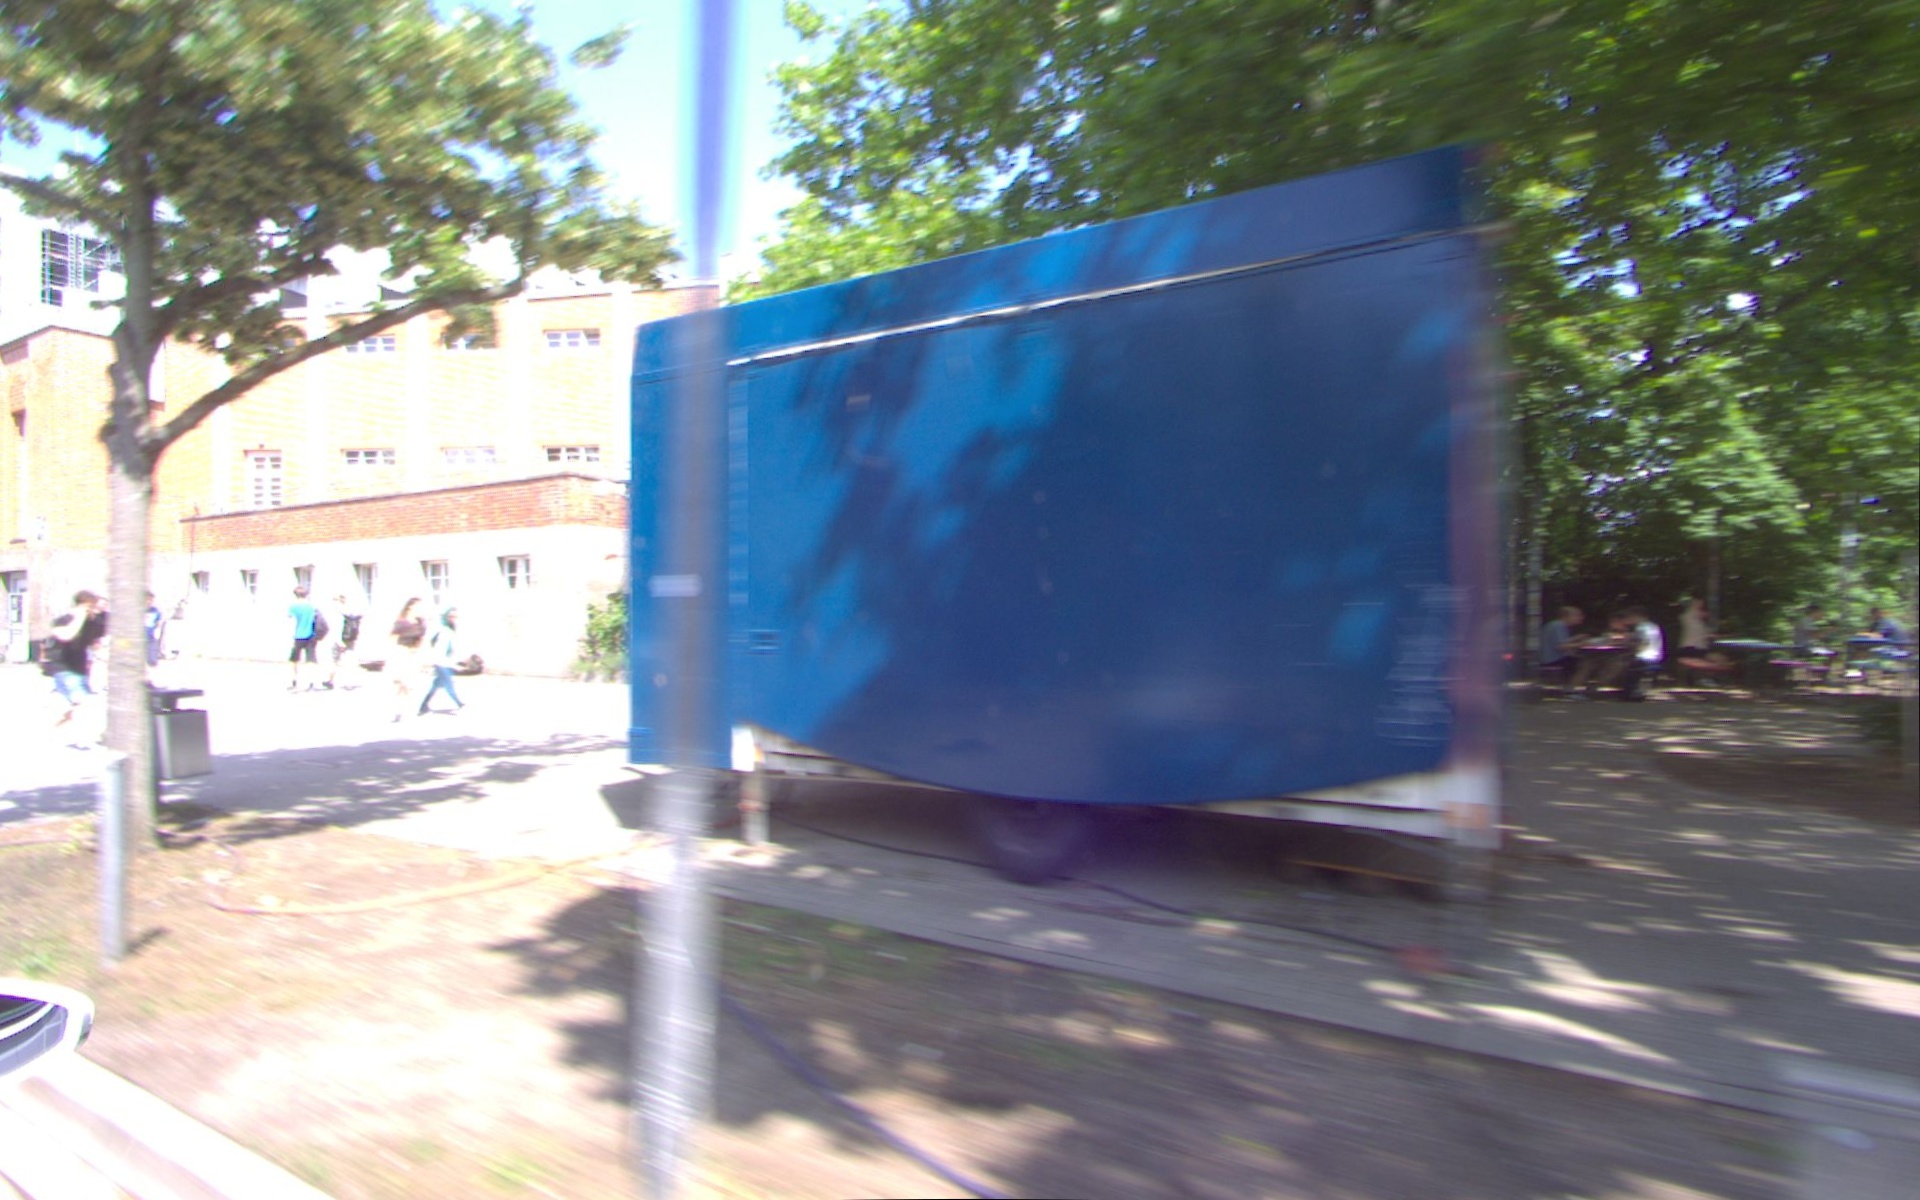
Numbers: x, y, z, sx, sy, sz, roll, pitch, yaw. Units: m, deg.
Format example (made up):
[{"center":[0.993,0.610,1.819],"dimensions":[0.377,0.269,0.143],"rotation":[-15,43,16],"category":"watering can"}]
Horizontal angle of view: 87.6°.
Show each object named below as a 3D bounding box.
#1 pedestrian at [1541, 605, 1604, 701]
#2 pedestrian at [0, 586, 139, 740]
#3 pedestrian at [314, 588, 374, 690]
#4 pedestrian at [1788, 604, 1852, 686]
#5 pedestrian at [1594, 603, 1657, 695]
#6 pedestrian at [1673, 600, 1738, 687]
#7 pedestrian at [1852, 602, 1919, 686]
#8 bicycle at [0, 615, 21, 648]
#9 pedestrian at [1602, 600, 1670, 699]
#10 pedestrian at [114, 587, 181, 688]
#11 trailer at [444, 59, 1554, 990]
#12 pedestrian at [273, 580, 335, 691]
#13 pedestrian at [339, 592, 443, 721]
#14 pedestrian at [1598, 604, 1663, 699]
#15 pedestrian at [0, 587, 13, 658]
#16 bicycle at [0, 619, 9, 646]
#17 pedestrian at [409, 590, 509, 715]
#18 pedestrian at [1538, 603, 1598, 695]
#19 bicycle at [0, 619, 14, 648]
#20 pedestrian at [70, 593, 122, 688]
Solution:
[{"center":[9.075,0.765,14.855],"dimensions":[0.717,1.365,0.568],"rotation":[1,3,27],"category":"pedestrian"},{"center":[-9.740,0.662,10.990],"dimensions":[0.815,1.616,0.849],"rotation":[0,1,-11],"category":"pedestrian"},{"center":[-11.390,0.687,18.508],"dimensions":[0.983,1.828,0.697],"rotation":[2,2,43],"category":"pedestrian"},{"center":[14.099,0.719,16.427],"dimensions":[0.612,1.289,0.666],"rotation":[1,3,27],"category":"pedestrian"},{"center":[10.311,0.739,15.545],"dimensions":[0.717,1.365,0.568],"rotation":[1,3,27],"category":"pedestrian"},{"center":[12.194,0.696,16.397],"dimensions":[0.708,1.365,0.666],"rotation":[1,3,27],"category":"pedestrian"},{"center":[14.905,0.695,16.133],"dimensions":[0.612,1.289,0.666],"rotation":[1,3,27],"category":"pedestrian"},{"center":[-30.834,1.005,31.699],"dimensions":[0.552,1.047,1.532],"rotation":[0,0,31],"category":"bicycle"},{"center":[9.782,0.702,14.511],"dimensions":[0.717,1.365,0.568],"rotation":[1,3,27],"category":"pedestrian"},{"center":[-14.999,0.672,18.492],"dimensions":[0.740,1.811,0.708],"rotation":[0,1,24],"category":"pedestrian"},{"center":[-0.014,-0.235,6.076],"dimensions":[6.164,3.092,2.687],"rotation":[0,0,31],"category":"trailer"},{"center":[-11.808,0.613,18.019],"dimensions":[0.983,1.918,0.697],"rotation":[2,4,44],"category":"pedestrian"},{"center":[-7.689,0.730,13.541],"dimensions":[0.935,1.660,0.874],"rotation":[0,1,31],"category":"pedestrian"},{"center":[10.050,0.756,15.028],"dimensions":[0.717,1.365,0.568],"rotation":[1,3,27],"category":"pedestrian"},{"center":[-26.085,0.589,26.821],"dimensions":[1.100,1.884,0.789],"rotation":[0,0,31],"category":"pedestrian"},{"center":[-32.979,1.107,33.348],"dimensions":[0.552,0.924,1.806],"rotation":[0,0,31],"category":"bicycle"},{"center":[-7.164,0.720,14.347],"dimensions":[0.934,1.661,0.874],"rotation":[3,5,28],"category":"pedestrian"},{"center":[9.448,0.740,15.575],"dimensions":[0.717,1.365,0.568],"rotation":[1,3,27],"category":"pedestrian"},{"center":[-32.354,1.113,32.869],"dimensions":[0.552,0.924,1.806],"rotation":[0,0,31],"category":"bicycle"},{"center":[-15.313,0.699,17.759],"dimensions":[0.562,1.652,0.501],"rotation":[0,1,24],"category":"pedestrian"}]
